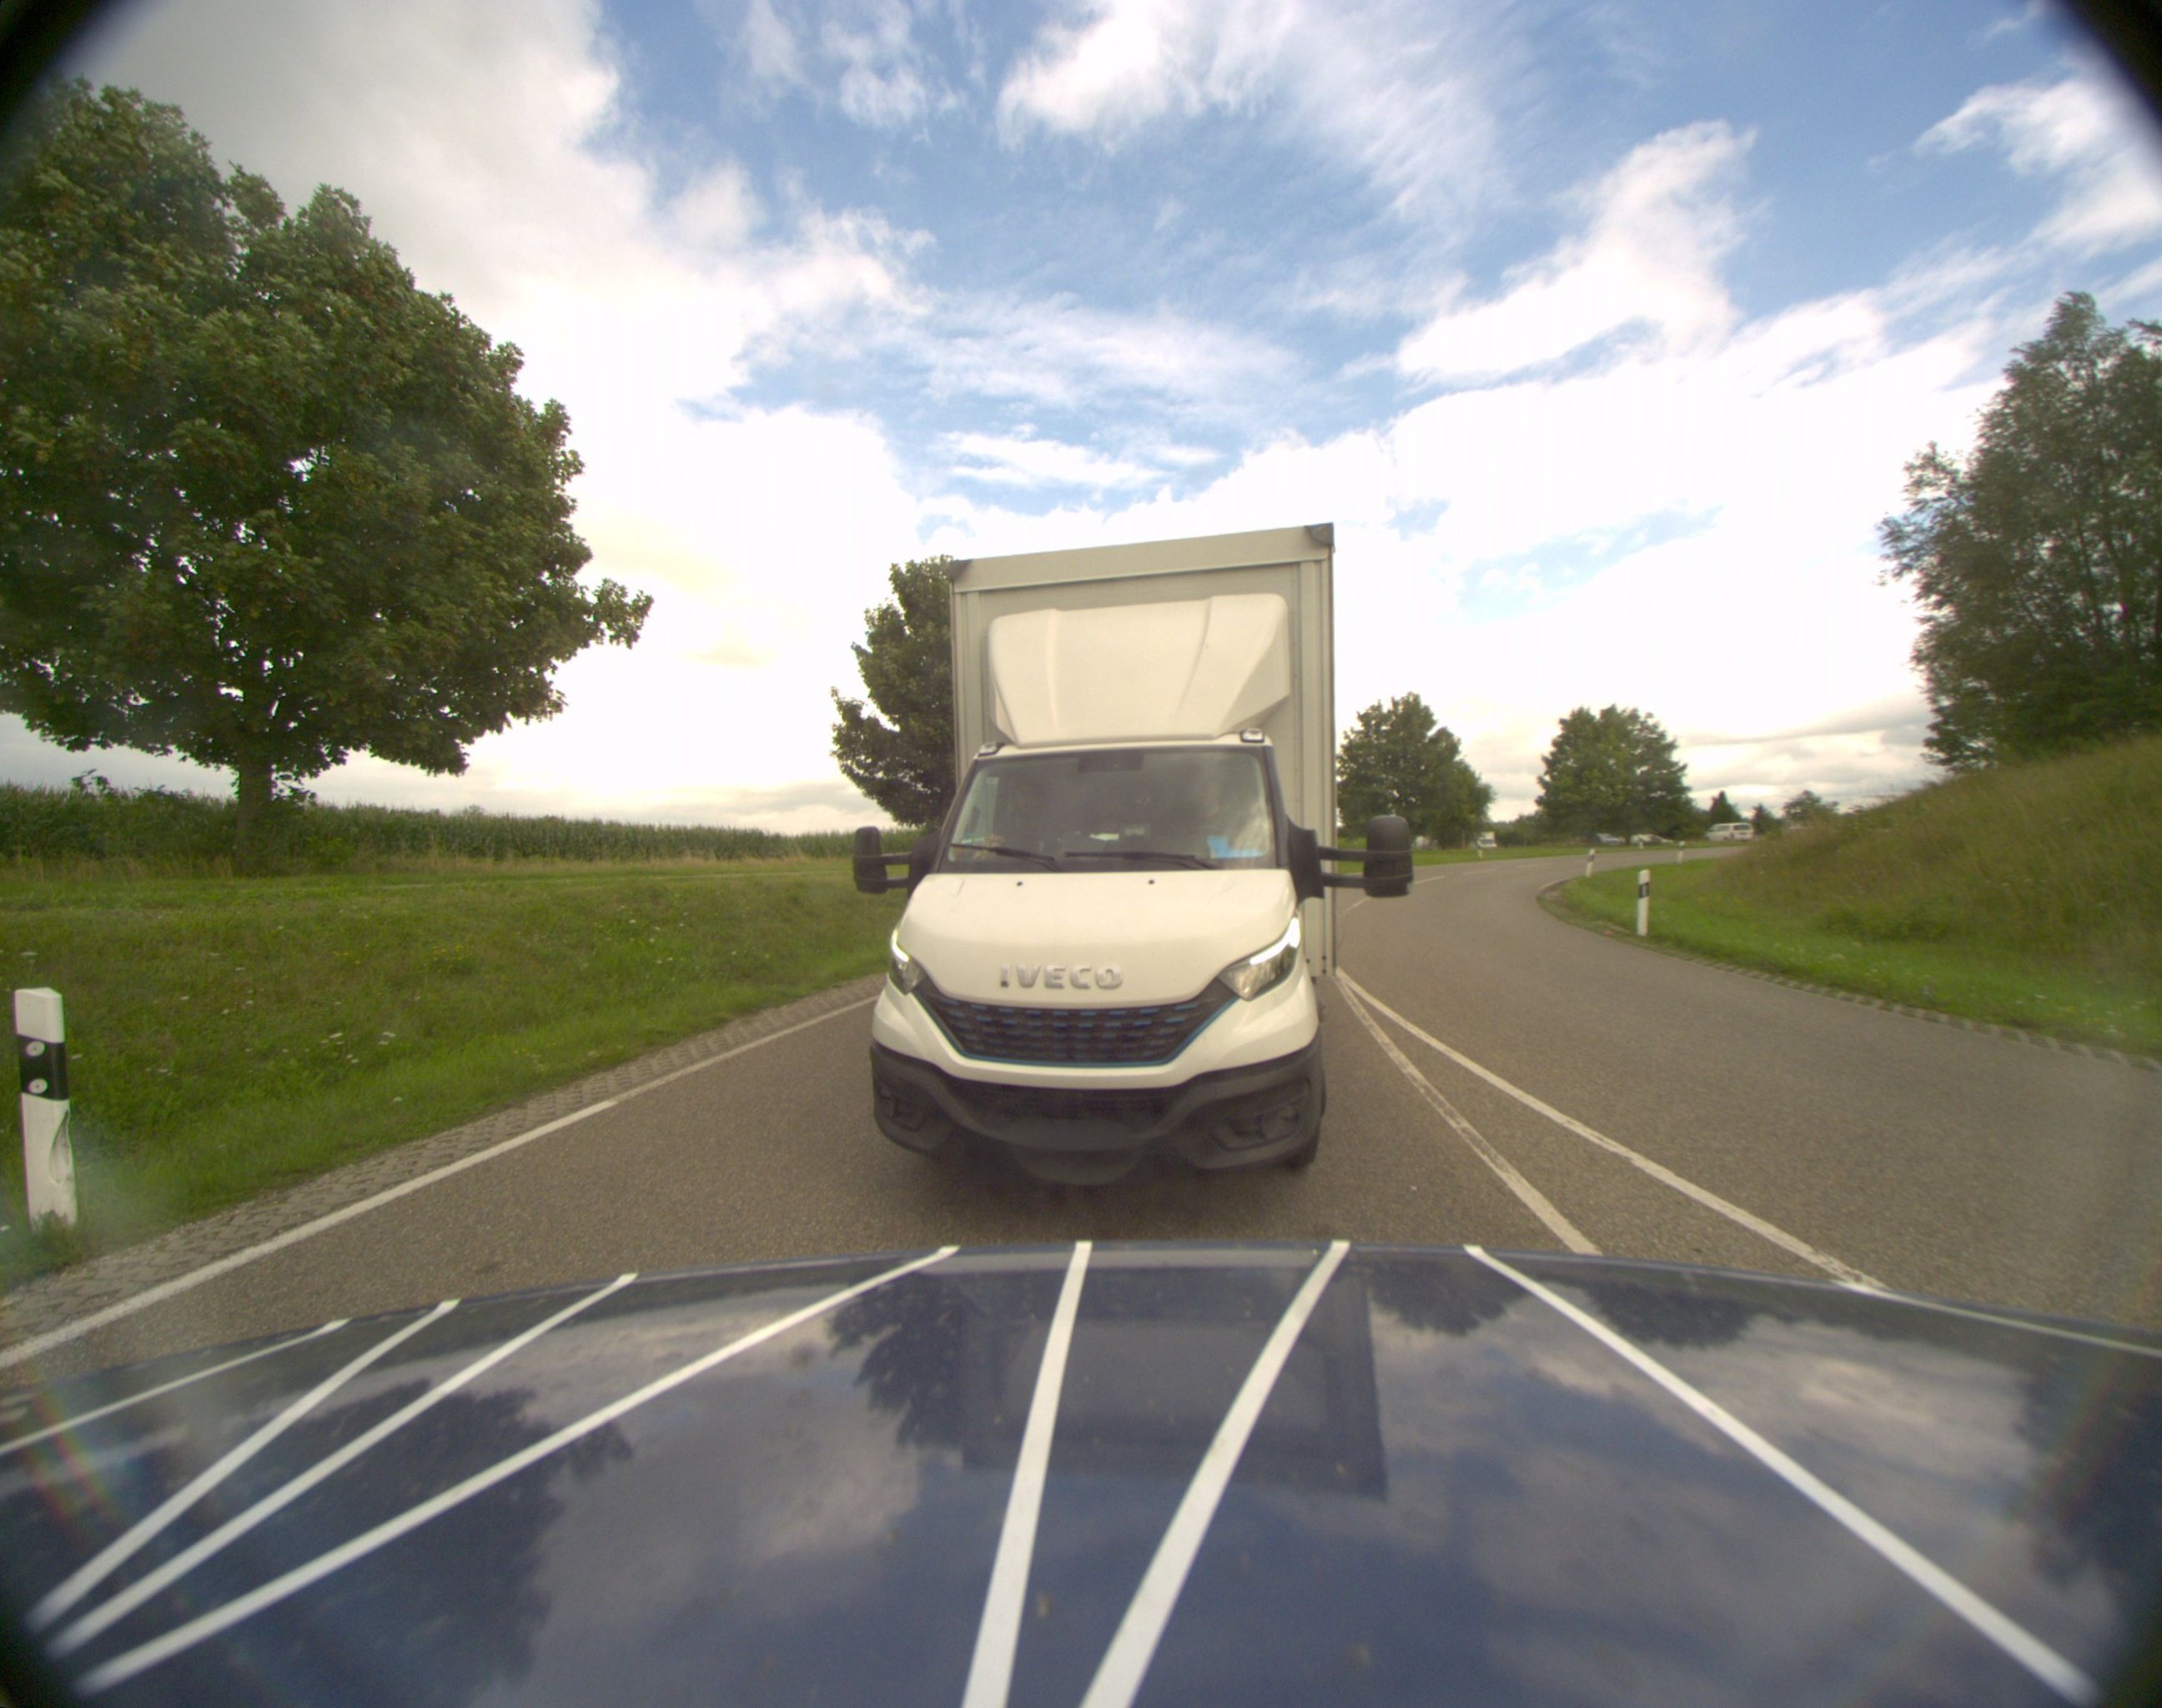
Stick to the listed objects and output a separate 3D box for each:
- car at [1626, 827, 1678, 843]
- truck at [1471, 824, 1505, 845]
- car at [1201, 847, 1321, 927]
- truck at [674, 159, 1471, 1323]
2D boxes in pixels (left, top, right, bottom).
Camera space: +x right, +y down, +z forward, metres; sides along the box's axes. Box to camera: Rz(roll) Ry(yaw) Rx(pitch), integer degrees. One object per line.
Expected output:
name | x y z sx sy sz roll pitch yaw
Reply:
car | 64.585 -2.111 86.003 4.393 1.576 2.003 -2 0 26
truck | 50.402 -2.324 94.175 2.288 2.407 6.389 -2 0 15
car | 3.971 0.632 16.254 1.747 1.457 4.006 -2 0 24
truck | 0.677 -0.354 7.031 2.835 3.742 8.807 -1 0 11
